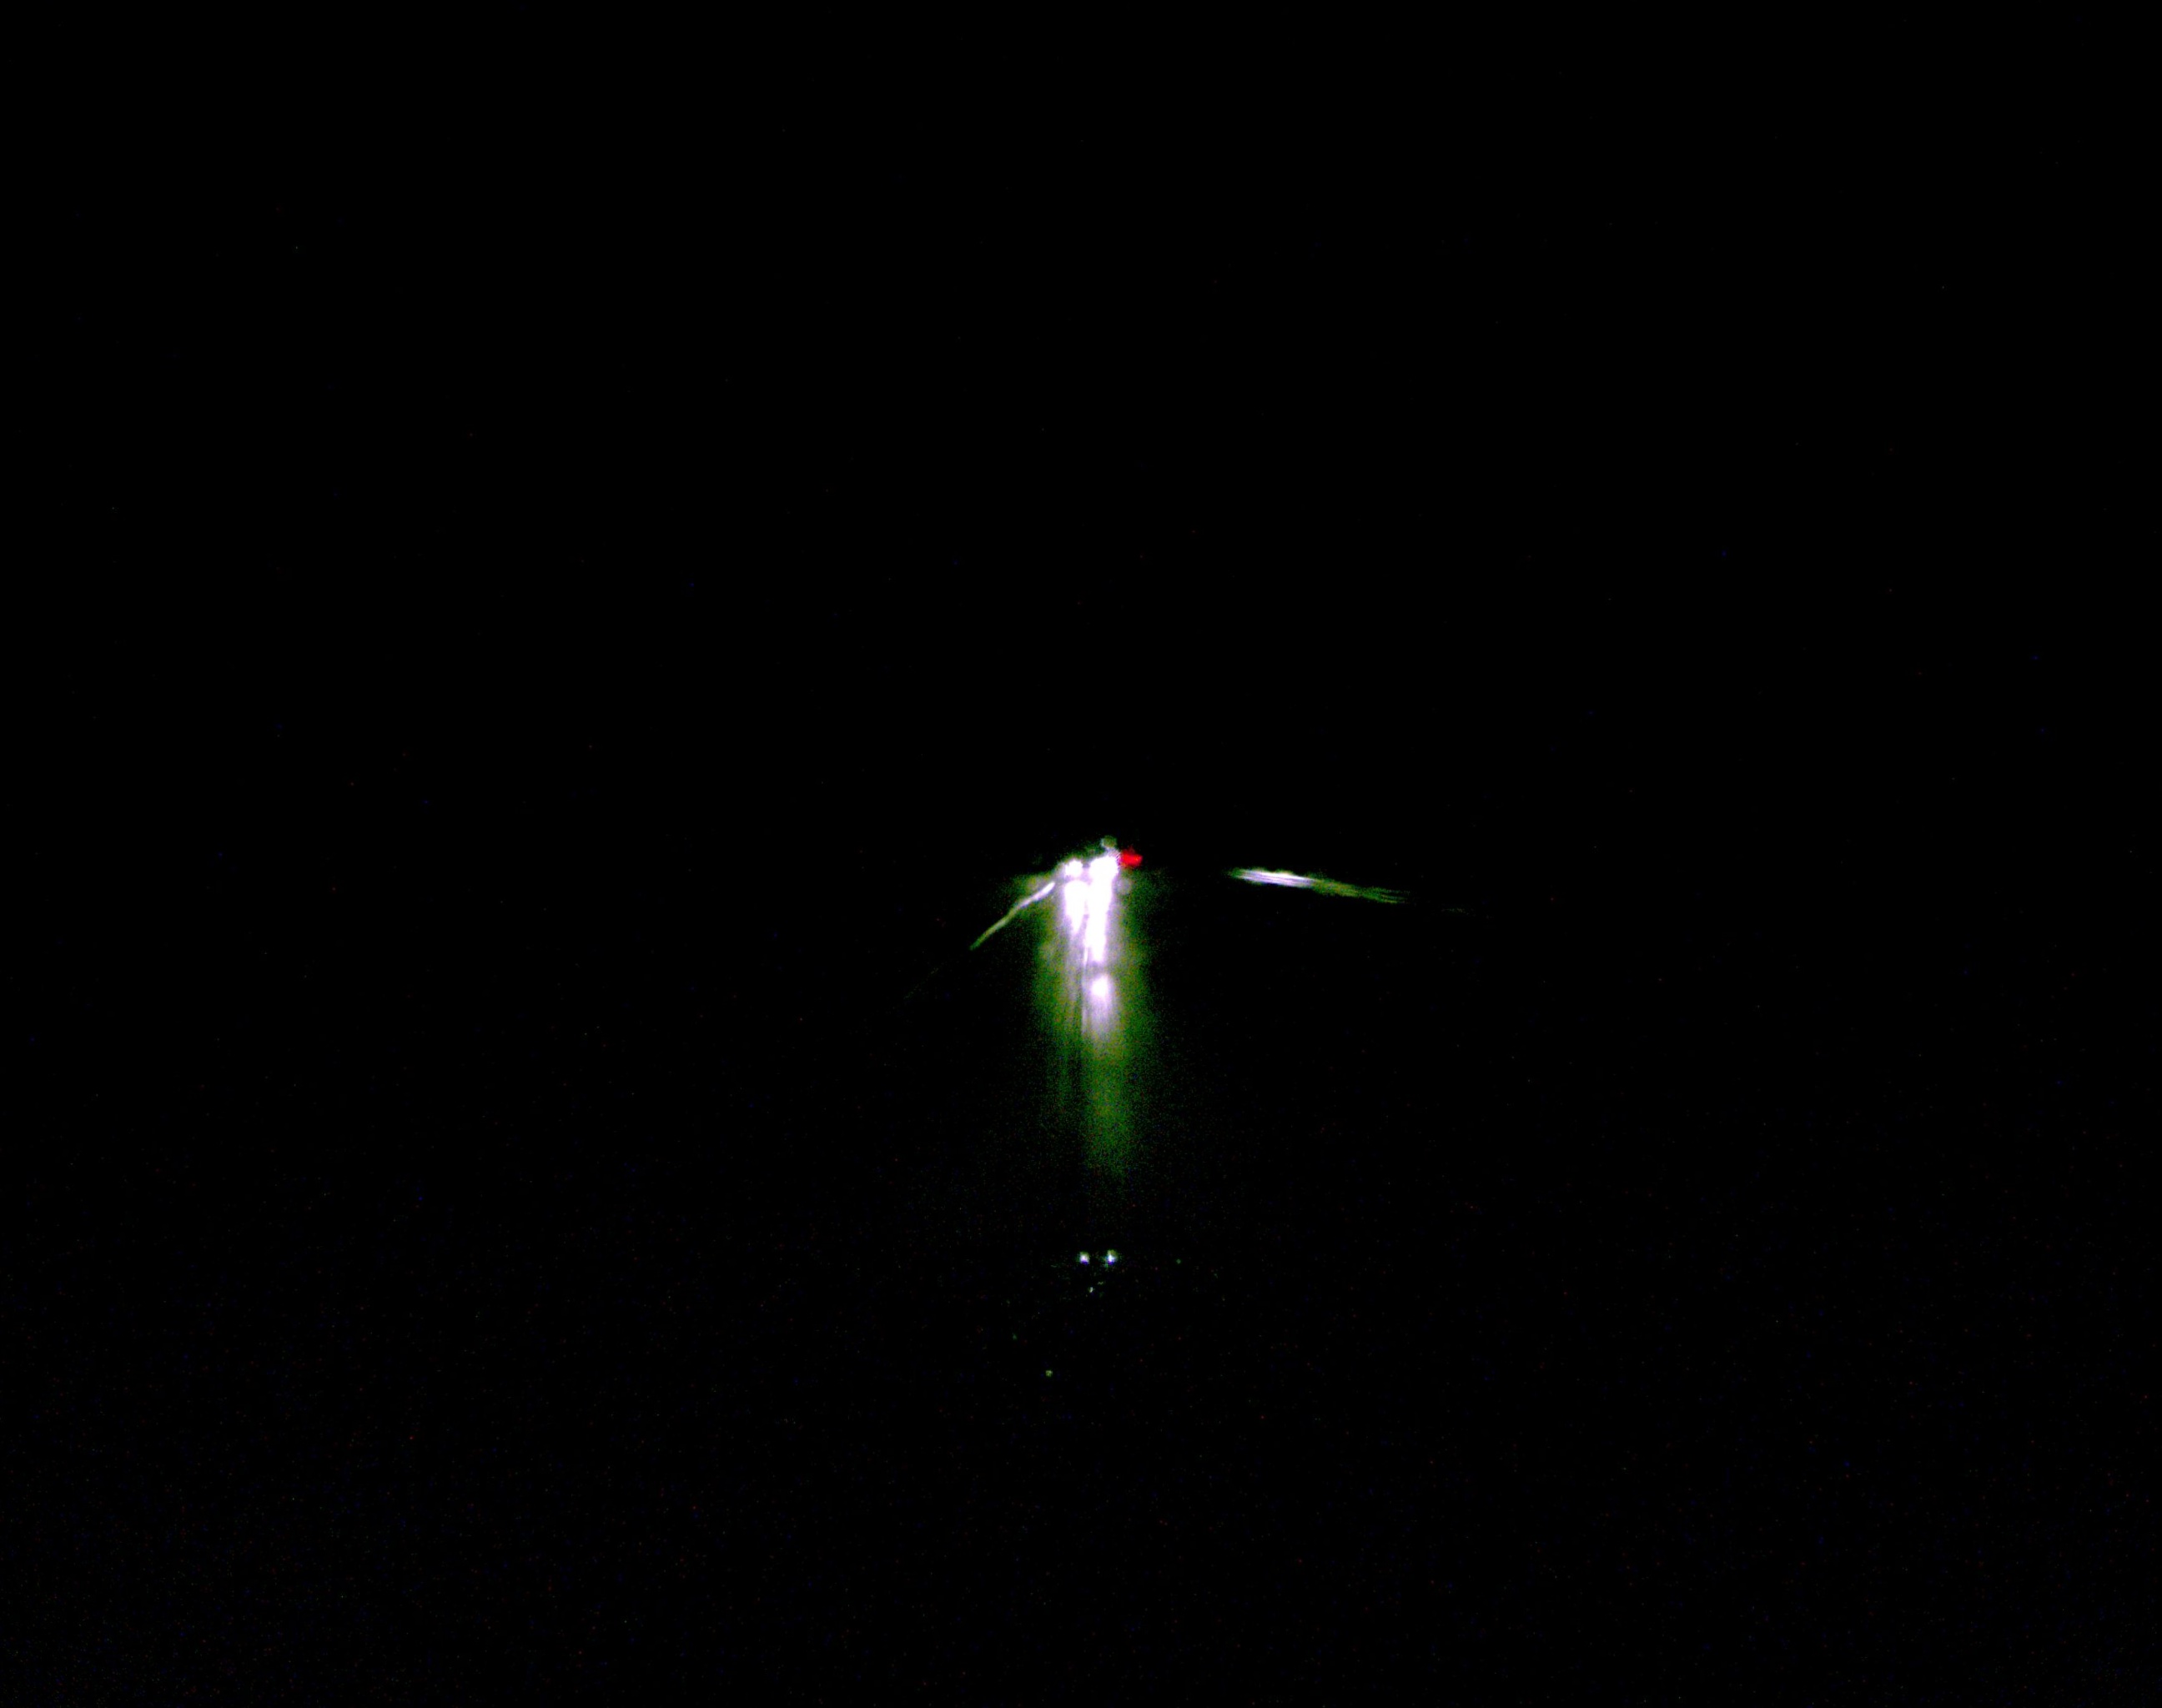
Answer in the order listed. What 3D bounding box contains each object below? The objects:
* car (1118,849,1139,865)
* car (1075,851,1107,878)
[{"bbox_3d":[5.051,0.300,80.722,1.804,1.570,4.457,-2,0,-1],"label":"car"},{"bbox_3d":[0.632,0.668,46.499,1.901,1.551,4.001,1,-1,1],"label":"car"}]
